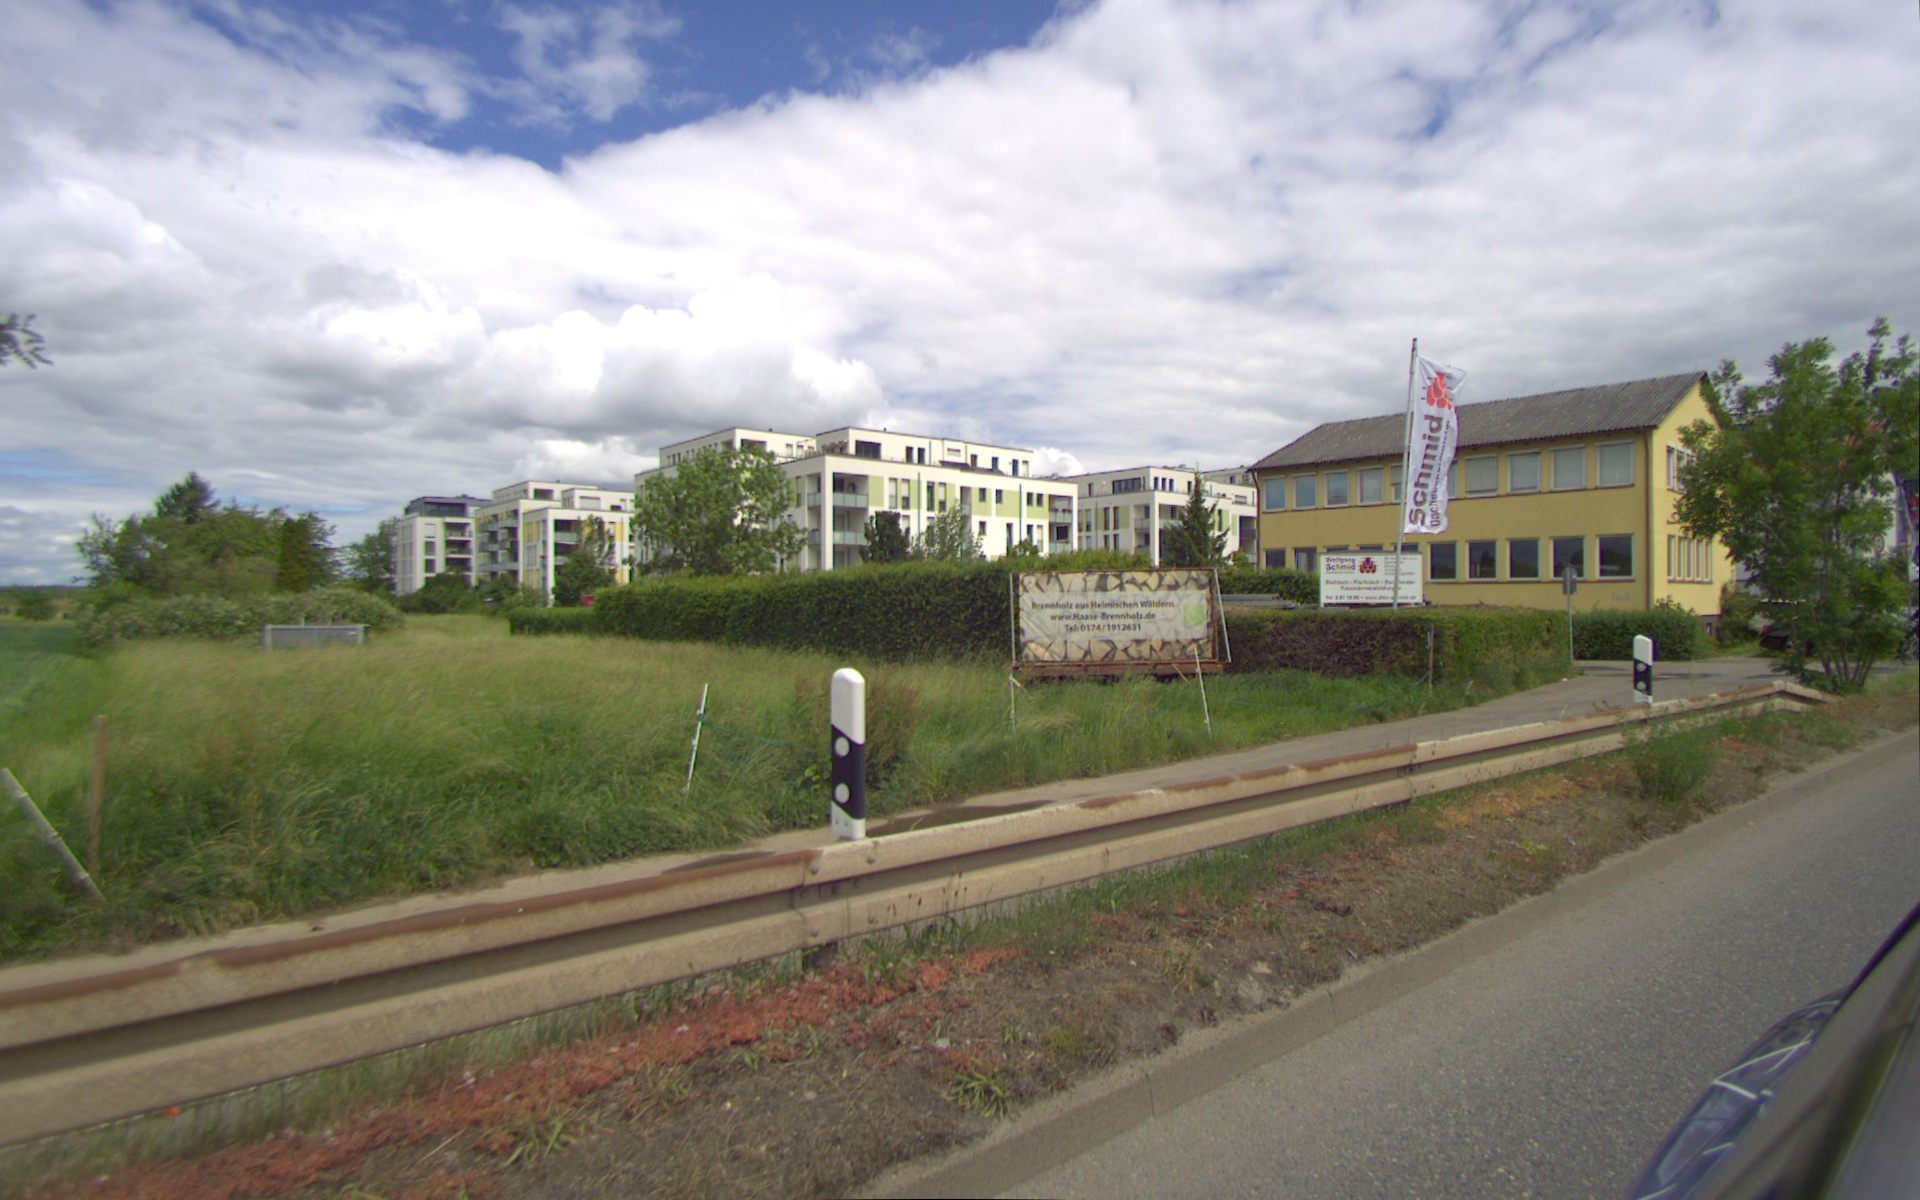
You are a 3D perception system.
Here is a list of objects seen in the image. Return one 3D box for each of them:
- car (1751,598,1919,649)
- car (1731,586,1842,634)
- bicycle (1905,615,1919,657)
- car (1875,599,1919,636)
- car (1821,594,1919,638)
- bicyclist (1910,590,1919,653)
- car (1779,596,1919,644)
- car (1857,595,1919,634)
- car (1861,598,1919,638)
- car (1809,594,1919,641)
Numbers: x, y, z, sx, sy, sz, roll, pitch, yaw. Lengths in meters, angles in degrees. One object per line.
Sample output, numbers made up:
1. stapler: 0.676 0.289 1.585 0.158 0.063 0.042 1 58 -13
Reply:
1. car: 27.147 0.730 30.941 1.969 1.416 4.327 -2 -1 -40
2. car: 35.290 0.382 43.199 4.929 1.844 1.985 -1 1 -29
3. bicycle: 26.410 0.985 27.572 1.942 1.076 0.640 0 3 -39
4. car: 40.296 0.697 40.858 2.009 1.512 4.706 0 -1 -39
5. car: 33.713 0.559 35.651 1.994 1.499 4.812 0 -2 -37
6. bicyclist: 26.420 0.599 27.547 0.874 1.696 0.640 0 3 -39
7. car: 29.565 0.645 32.377 2.001 1.449 4.862 0 -2 -38
8. car: 36.046 0.511 37.195 1.953 1.422 4.376 0 -2 -40
9. car: 38.141 0.689 39.122 1.998 1.512 4.669 0 -1 -39
10. car: 31.694 0.577 33.876 1.978 1.513 4.687 0 -2 -37
